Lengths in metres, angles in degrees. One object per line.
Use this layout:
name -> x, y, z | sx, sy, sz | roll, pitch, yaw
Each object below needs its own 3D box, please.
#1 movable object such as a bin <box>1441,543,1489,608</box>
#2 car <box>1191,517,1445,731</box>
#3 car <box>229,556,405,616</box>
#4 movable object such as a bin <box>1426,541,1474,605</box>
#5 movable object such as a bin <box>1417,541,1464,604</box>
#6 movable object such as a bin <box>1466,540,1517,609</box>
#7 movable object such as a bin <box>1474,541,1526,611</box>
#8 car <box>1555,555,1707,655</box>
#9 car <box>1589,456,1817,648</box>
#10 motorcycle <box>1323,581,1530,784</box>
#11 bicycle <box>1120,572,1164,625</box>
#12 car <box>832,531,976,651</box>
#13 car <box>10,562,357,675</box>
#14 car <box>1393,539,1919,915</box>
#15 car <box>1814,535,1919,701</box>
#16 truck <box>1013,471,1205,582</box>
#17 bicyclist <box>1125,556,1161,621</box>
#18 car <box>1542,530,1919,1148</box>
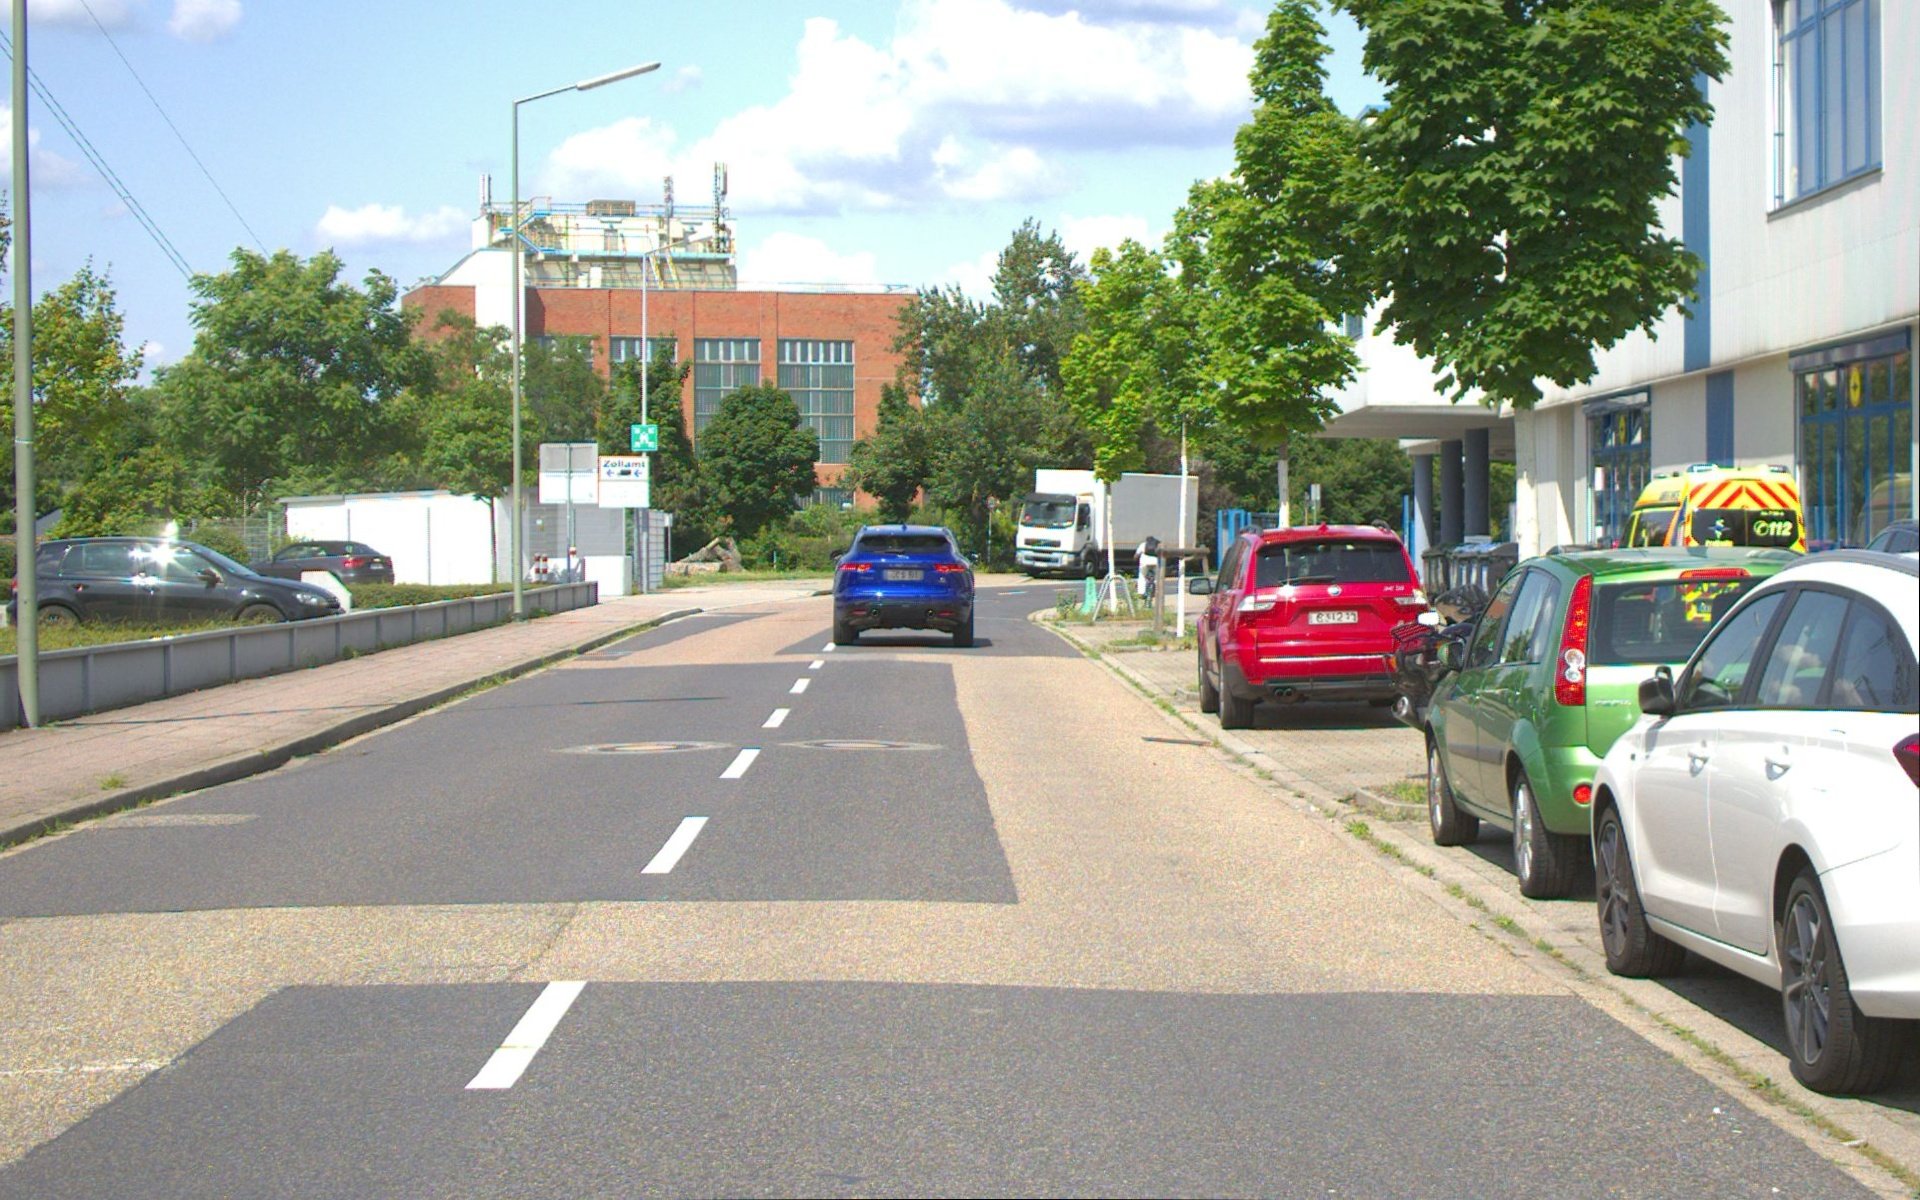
movable object such as a bin -> 10.982, -0.536, 74.729 | 0.804, 1.409, 1.175 | 1, 1, -3
car -> 2.988, 0.162, 29.558 | 1.755, 1.645, 4.677 | -2, 1, 1
car -> -15.254, -0.350, 81.511 | 3.995, 1.373, 1.800 | 1, 1, 34
movable object such as a bin -> 11.081, -0.611, 77.778 | 0.804, 1.409, 1.406 | 1, 1, -3
movable object such as a bin -> 11.066, -0.637, 79.190 | 0.804, 1.409, 1.358 | 1, 1, -3
movable object such as a bin -> 11.112, -0.536, 71.936 | 0.804, 1.409, 1.358 | 1, 1, -1
movable object such as a bin -> 11.060, -0.500, 70.468 | 0.804, 1.409, 1.358 | 1, 1, -1
car -> 10.417, 0.052, 53.596 | 1.572, 1.485, 3.817 | 1, 1, 0
car -> 10.075, -0.647, 47.019 | 1.924, 2.455, 5.260 | 1, 1, 0
motorcycle -> 3.034, 0.496, 22.154 | 0.856, 1.196, 2.361 | 0, 1, 20
bicycle -> 3.934, -0.035, 74.086 | 0.667, 1.105, 2.167 | 0, 1, 11
car -> -0.795, -0.144, 48.389 | 1.909, 1.588, 4.702 | 0, 1, -1
car -> -9.790, 0.220, 43.569 | 3.987, 1.371, 1.804 | 0, 1, 0
car -> 3.121, 0.492, 15.930 | 1.668, 1.515, 3.995 | 0, 1, -1
car -> 10.316, 0.170, 35.900 | 1.714, 1.646, 4.215 | 0, 0, 0
truck -> 5.102, -2.506, 115.767 | 2.325, 3.555, 9.352 | 2, 3, 30
bicyclist -> 3.958, -0.258, 74.256 | 0.663, 1.393, 0.858 | 0, 1, 11
car -> 3.148, 0.567, 10.672 | 1.835, 1.515, 4.461 | 0, 1, -1
